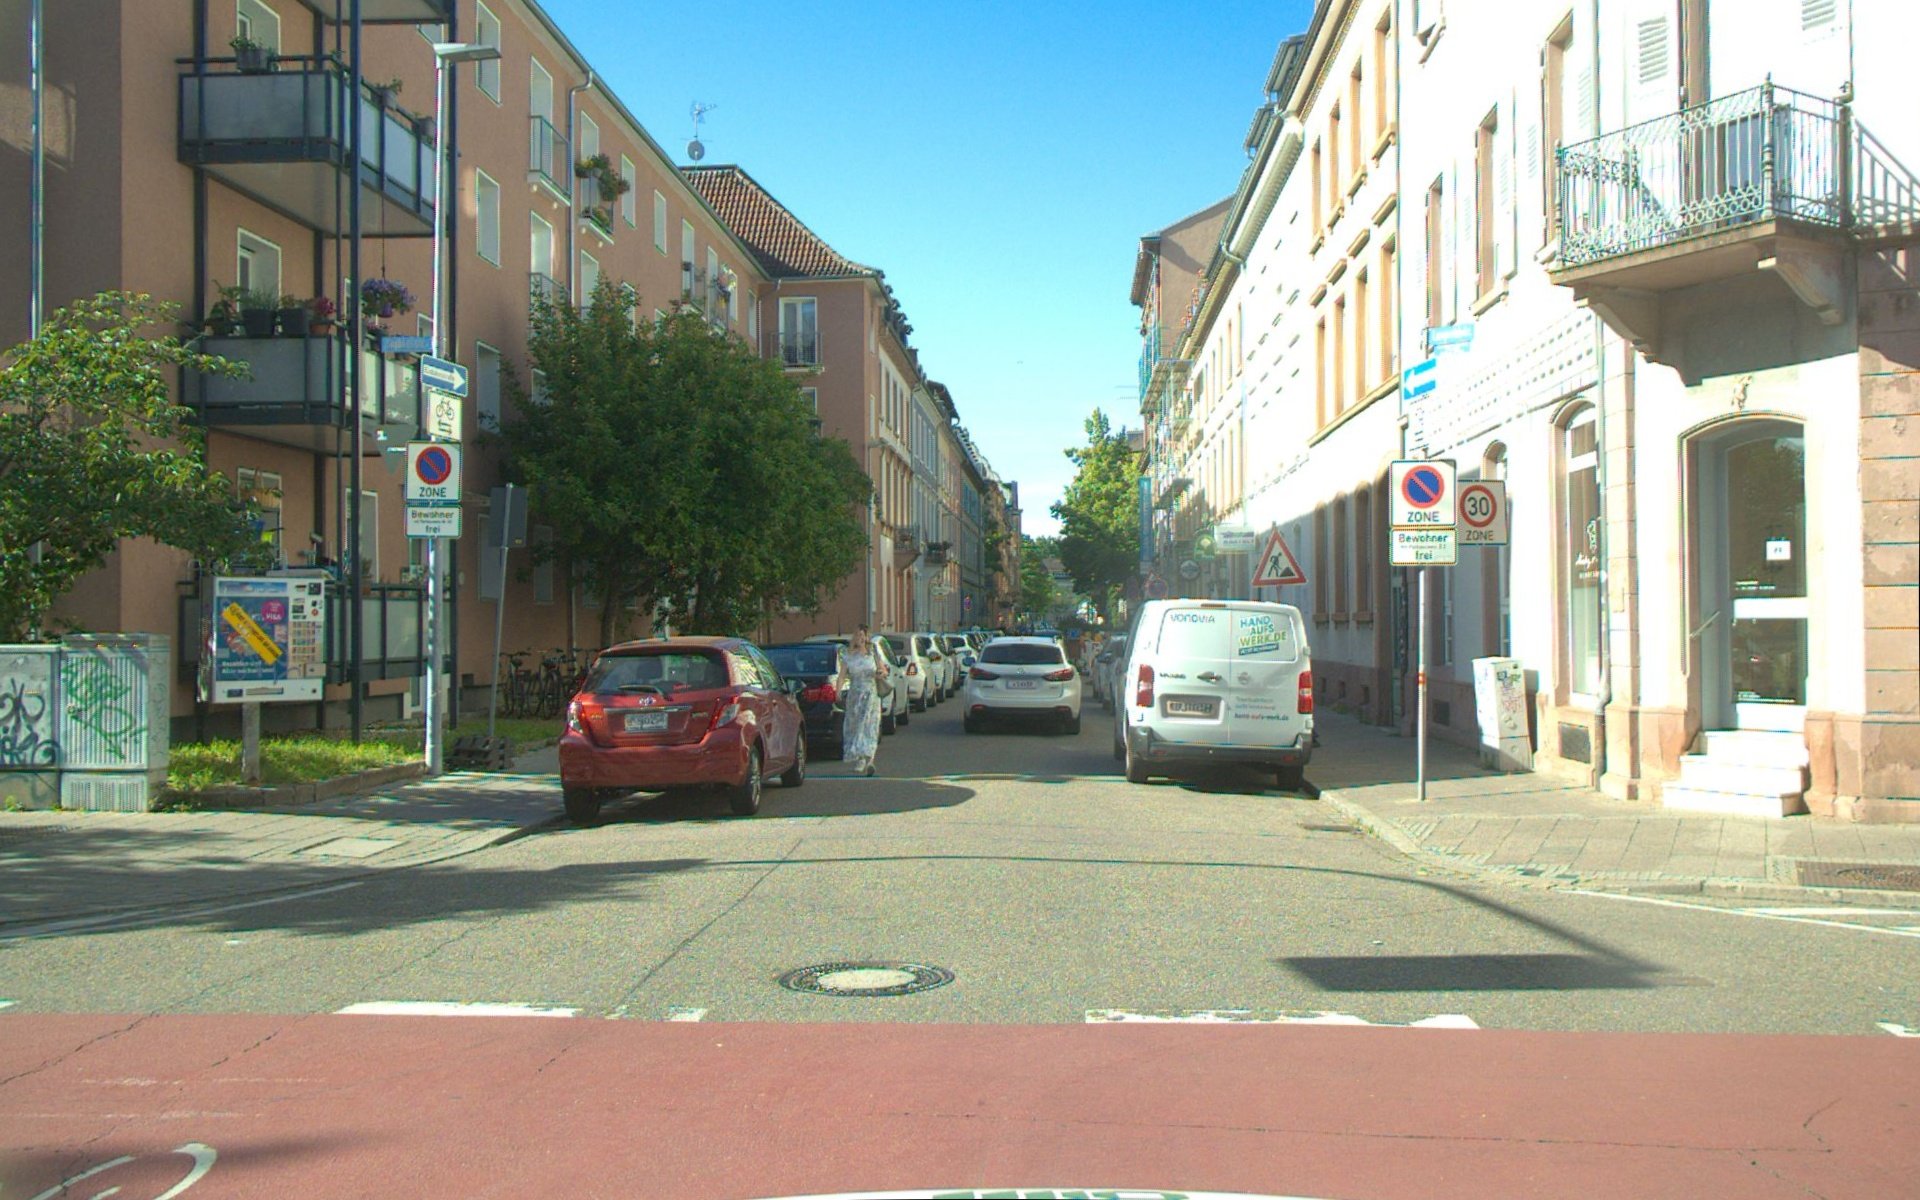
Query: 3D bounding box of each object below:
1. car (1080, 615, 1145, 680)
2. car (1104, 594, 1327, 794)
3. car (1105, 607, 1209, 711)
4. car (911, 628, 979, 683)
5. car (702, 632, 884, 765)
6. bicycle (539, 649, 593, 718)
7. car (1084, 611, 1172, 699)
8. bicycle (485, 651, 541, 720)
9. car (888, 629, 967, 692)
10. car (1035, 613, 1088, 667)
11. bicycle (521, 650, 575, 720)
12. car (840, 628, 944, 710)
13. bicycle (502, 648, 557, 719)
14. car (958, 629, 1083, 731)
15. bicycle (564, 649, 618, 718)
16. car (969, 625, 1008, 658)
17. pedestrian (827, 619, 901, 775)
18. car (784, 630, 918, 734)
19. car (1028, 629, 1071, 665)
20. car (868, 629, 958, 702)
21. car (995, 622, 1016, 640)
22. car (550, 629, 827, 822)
[{"bbox_3d":[4.565,1.405,49.898,1.855,1.892,3.996,0,-1,5],"label":"car"},{"bbox_3d":[2.709,0.945,18.648,1.855,1.892,5.015,2,-1,2],"label":"car"},{"bbox_3d":[3.783,1.107,32.334,1.855,1.892,3.996,0,-1,5],"label":"car"},{"bbox_3d":[-0.406,1.570,47.747,1.618,1.526,3.765,0,-1,5],"label":"car"},{"bbox_3d":[-2.053,1.190,21.349,1.618,1.526,4.081,0,-1,5],"label":"car"},{"bbox_3d":[-6.418,1.352,26.912,1.195,1.090,0.252,-1,-1,44],"label":"bicycle"},{"bbox_3d":[3.784,1.212,37.677,1.855,1.892,3.996,0,-1,5],"label":"car"},{"bbox_3d":[-7.085,1.339,26.178,1.195,1.053,0.289,-1,-1,44],"label":"bicycle"},{"bbox_3d":[-0.789,1.519,42.314,1.618,1.526,3.765,0,-1,5],"label":"car"},{"bbox_3d":[3.711,1.439,59.917,1.855,1.892,3.996,0,-1,5],"label":"car"},{"bbox_3d":[-6.649,1.362,26.659,1.195,1.089,0.252,-1,-1,44],"label":"bicycle"},{"bbox_3d":[-1.304,1.345,33.140,1.618,1.526,3.765,0,-1,5],"label":"car"},{"bbox_3d":[-6.877,1.325,26.421,1.195,1.091,0.264,-1,-1,44],"label":"bicycle"},{"bbox_3d":[1.031,1.274,26.205,1.792,1.483,3.963,-1,-3,4],"label":"car"},{"bbox_3d":[-6.024,1.355,26.974,1.199,1.090,0.252,-1,-1,44],"label":"bicycle"},{"bbox_3d":[1.369,1.948,78.750,1.618,1.526,3.765,0,-1,5],"label":"car"},{"bbox_3d":[-1.056,1.038,18.061,0.719,1.642,0.815,-1,-1,-8],"label":"pedestrian"},{"bbox_3d":[-1.687,1.265,26.635,1.618,1.526,3.765,0,-1,5],"label":"car"},{"bbox_3d":[3.859,1.994,70.812,1.723,1.435,4.330,0,-1,5],"label":"car"},{"bbox_3d":[-1.005,1.434,37.121,1.618,1.526,3.765,0,-1,5],"label":"car"},{"bbox_3d":[3.931,2.715,143.820,1.618,1.526,3.765,0,-1,5],"label":"car"},{"bbox_3d":[-2.382,1.064,15.437,1.649,1.526,3.808,-2,-1,5],"label":"car"}]
